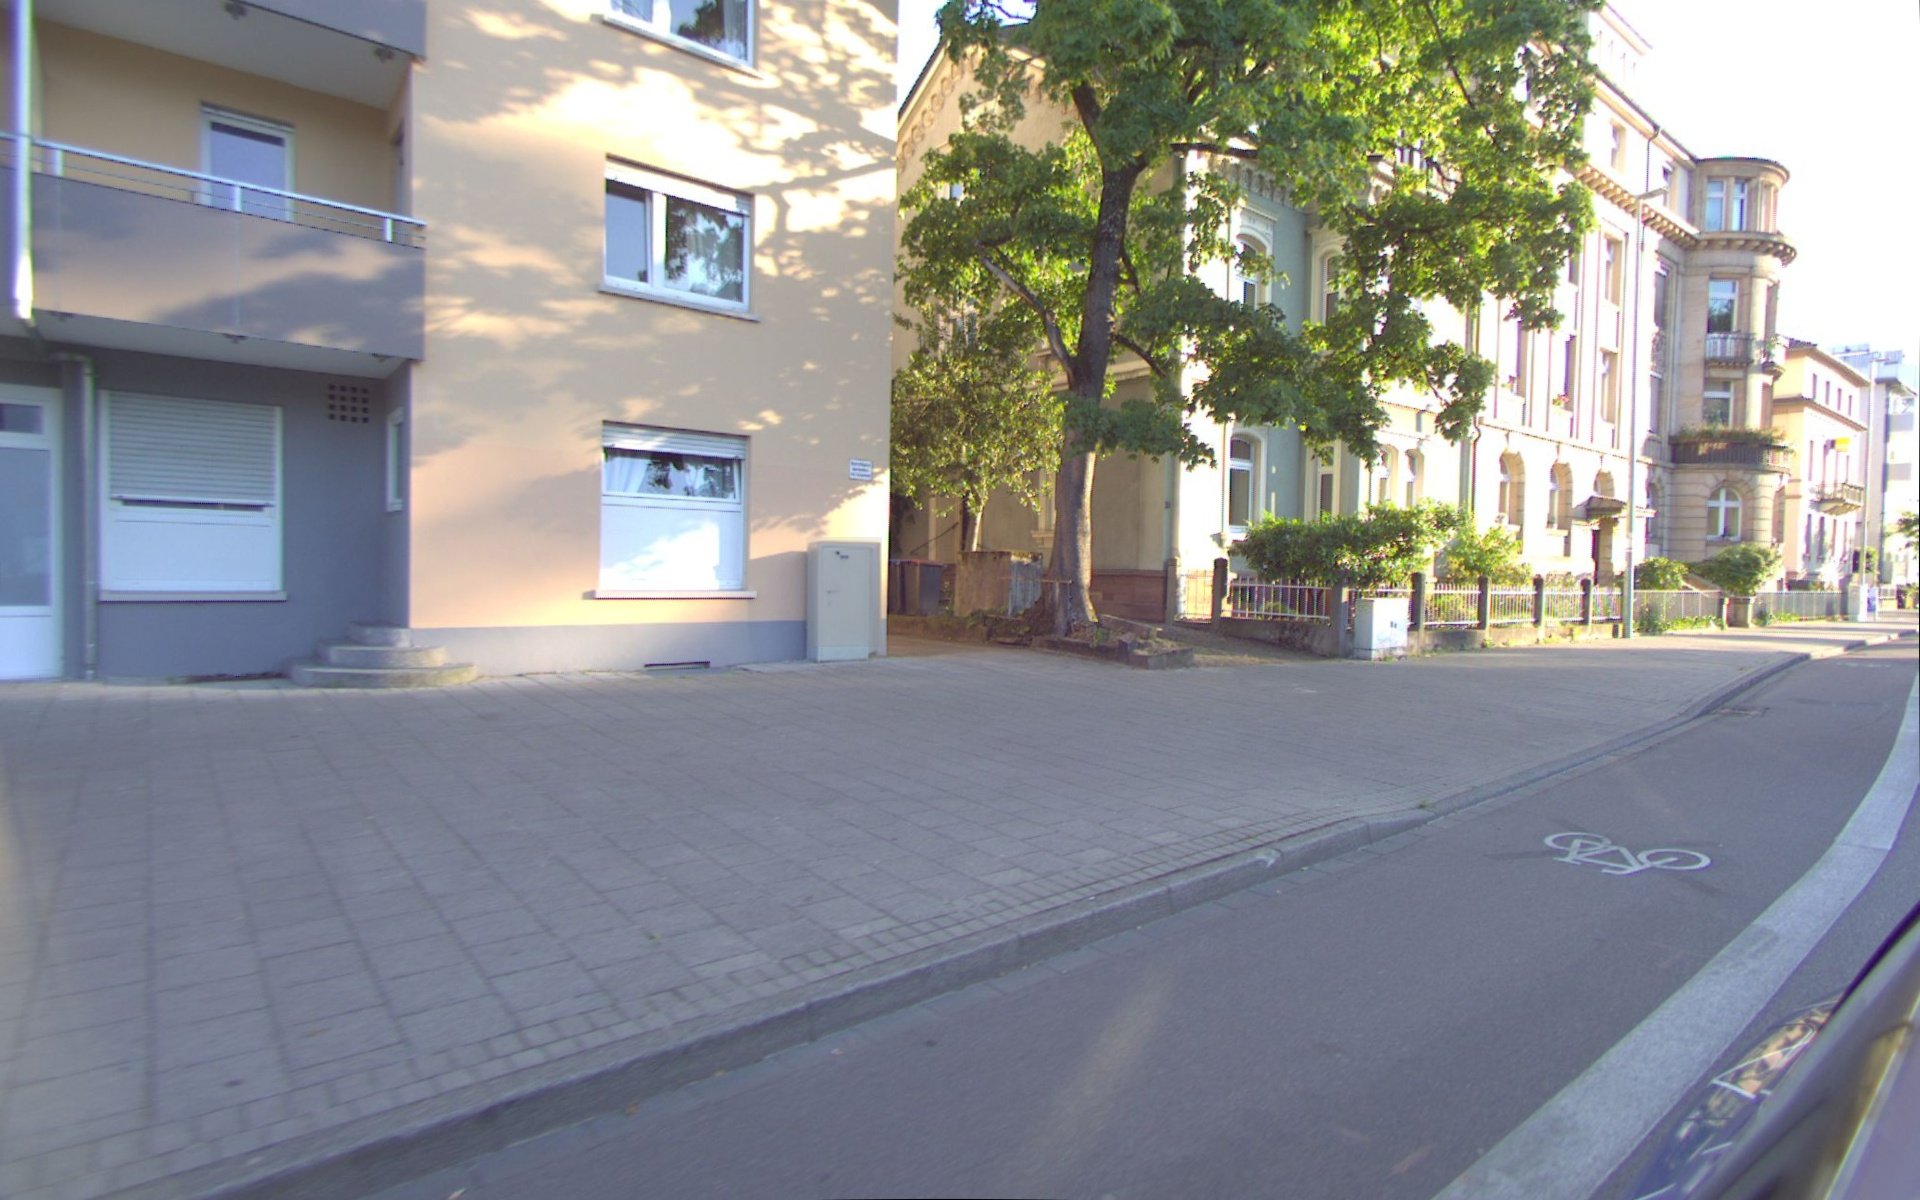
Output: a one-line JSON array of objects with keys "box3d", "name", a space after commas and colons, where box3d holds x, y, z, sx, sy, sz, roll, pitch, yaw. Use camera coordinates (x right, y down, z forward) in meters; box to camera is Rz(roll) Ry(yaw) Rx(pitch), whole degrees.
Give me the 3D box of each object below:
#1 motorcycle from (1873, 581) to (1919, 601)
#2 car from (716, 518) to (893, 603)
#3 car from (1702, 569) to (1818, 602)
[{"box3d": [52.907, -0.512, 57.194, 0.564, 1.110, 1.851, 0, 1, -34], "name": "motorcycle"}, {"box3d": [-3.750, -0.966, 23.896, 1.796, 1.778, 4.512, 1, 3, -45], "name": "car"}, {"box3d": [38.722, -0.718, 49.053, 1.903, 1.499, 4.097, 0, 2, -39], "name": "car"}]
